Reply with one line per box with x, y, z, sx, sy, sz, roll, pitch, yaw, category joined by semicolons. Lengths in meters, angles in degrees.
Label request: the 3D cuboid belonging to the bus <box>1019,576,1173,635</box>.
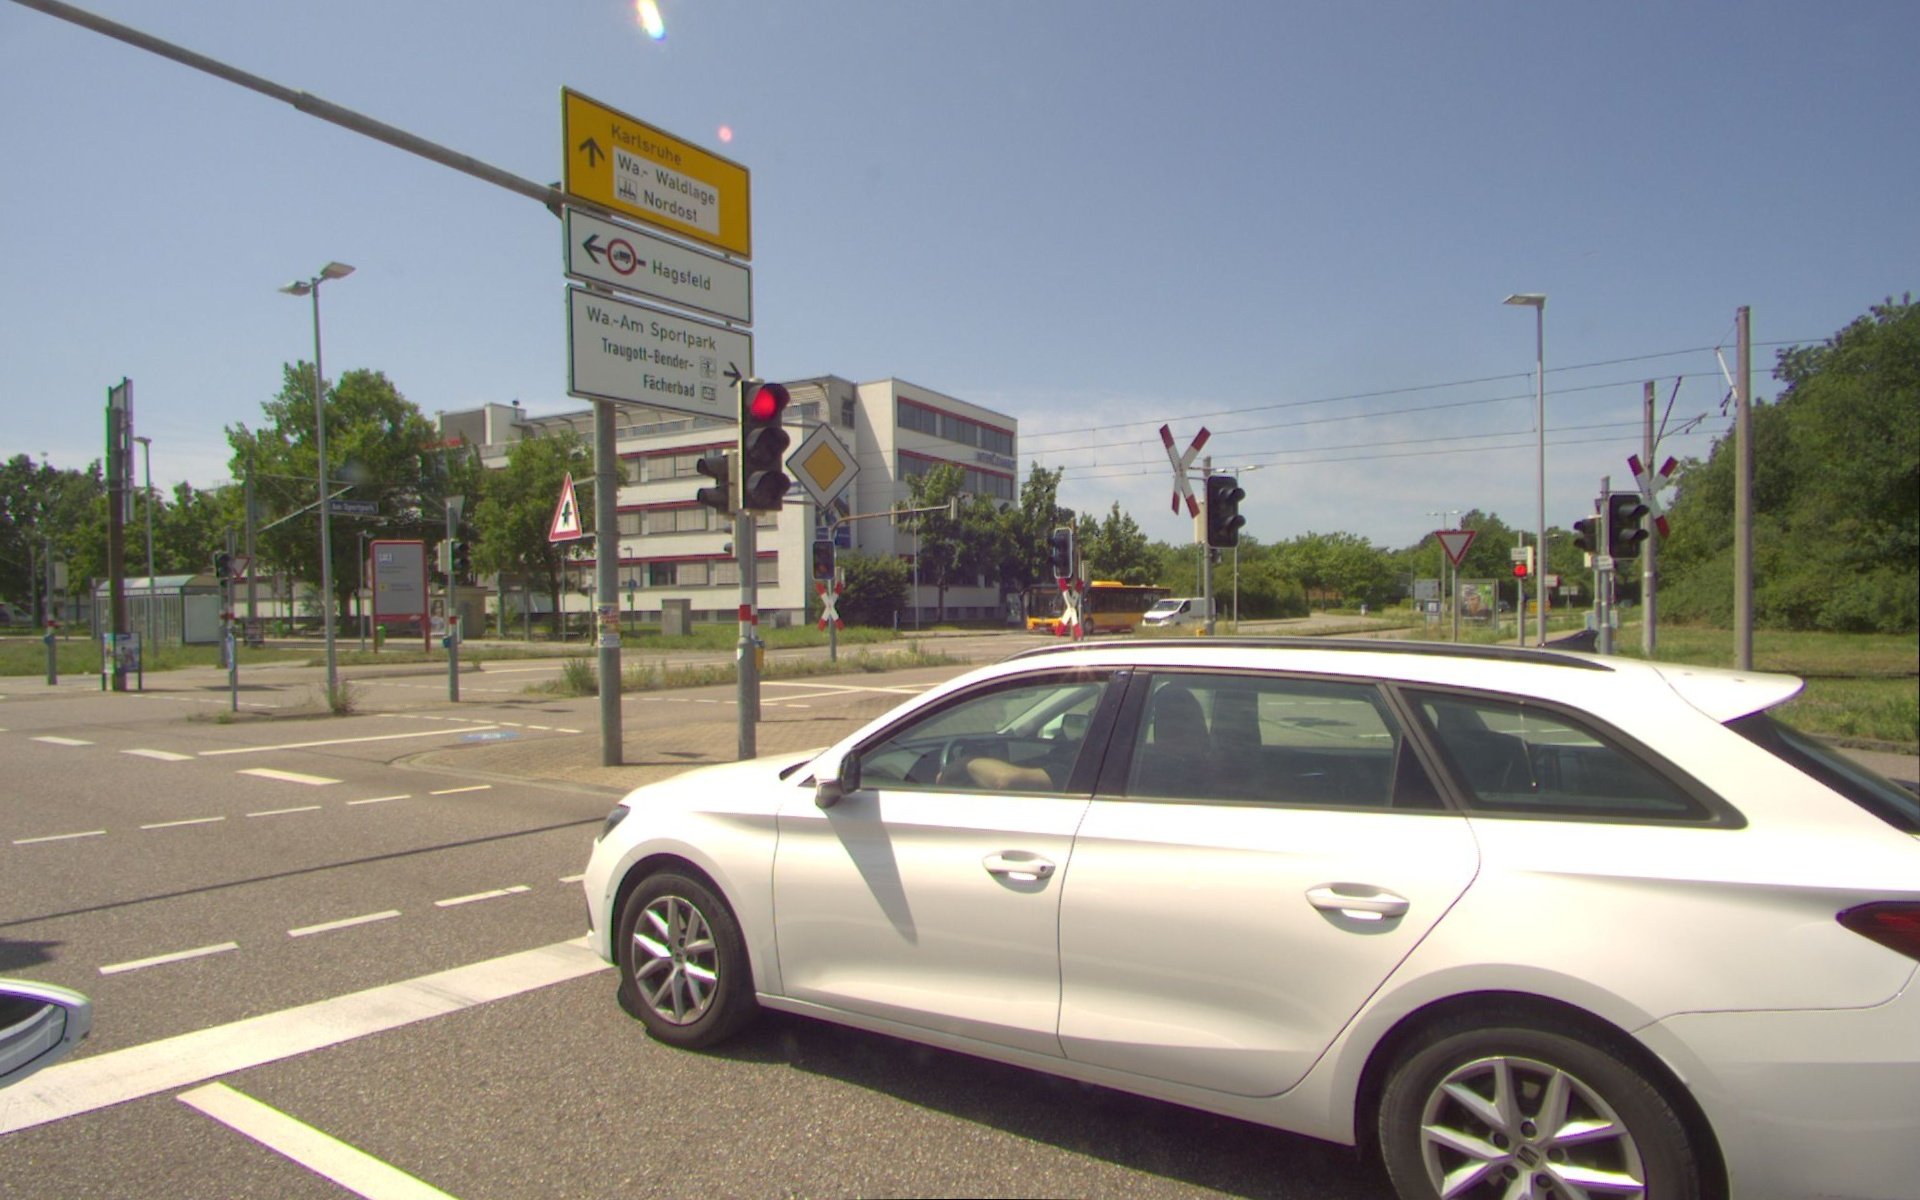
8.332;0.388;59.272;2.808;3.159;11.977;-2;-2;42;bus

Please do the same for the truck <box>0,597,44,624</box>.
-104.699;1.175;109.729;2.283;2.881;5.837;-1;1;26;truck

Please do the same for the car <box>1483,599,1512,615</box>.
54.071;0.719;100.692;1.655;1.601;3.967;1;0;42;car

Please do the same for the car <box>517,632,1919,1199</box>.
0.576;0.846;3.525;4.384;1.408;1.680;-1;-1;30;car

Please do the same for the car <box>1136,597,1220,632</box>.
11.594;0.806;53.158;5.021;1.750;1.811;2;-2;-43;car
